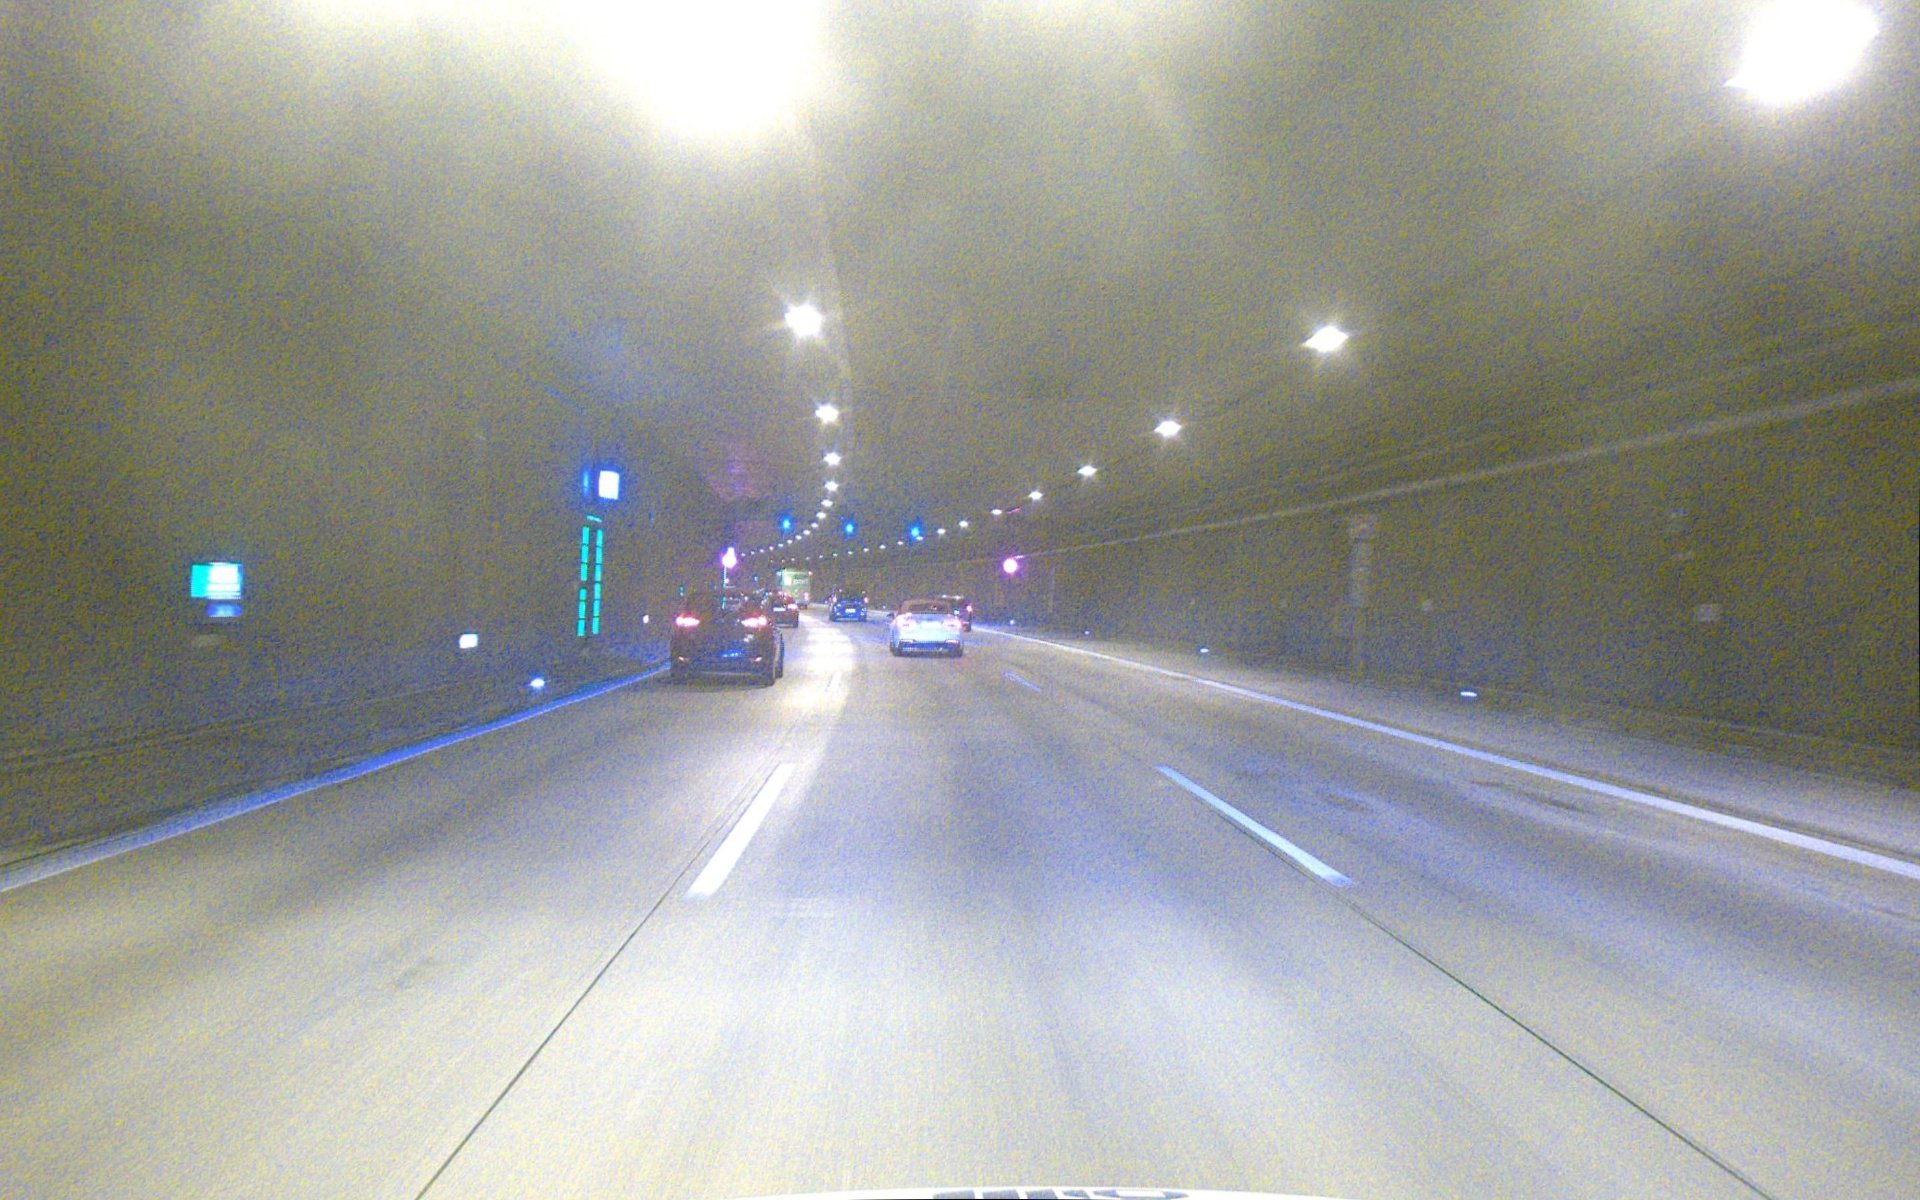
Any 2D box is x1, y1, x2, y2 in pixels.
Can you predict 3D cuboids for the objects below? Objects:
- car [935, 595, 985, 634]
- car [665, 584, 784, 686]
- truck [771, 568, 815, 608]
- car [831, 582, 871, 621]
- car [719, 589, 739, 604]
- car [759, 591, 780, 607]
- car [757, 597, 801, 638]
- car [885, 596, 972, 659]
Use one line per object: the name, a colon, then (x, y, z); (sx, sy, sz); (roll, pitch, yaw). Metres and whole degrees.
car: (-0.028, 0.607, 71.111); (1.803, 1.630, 3.996); (1, 0, -5)
car: (-4.005, 0.569, 28.621); (1.750, 1.626, 3.798); (1, 0, -4)
truck: (-14.070, -1.039, 138.662); (3.026, 3.167, 10.009); (2, 1, -9)
car: (-5.853, 0.066, 88.460); (1.955, 2.006, 3.994); (0, 0, -7)
car: (-24.279, -0.368, 173.778); (1.957, 1.557, 3.990); (2, 0, -10)
car: (-23.405, -0.118, 203.013); (1.960, 1.785, 3.985); (2, 0, -14)
car: (-7.988, 0.746, 72.695); (1.767, 1.713, 3.992); (1, 0, -8)
car: (-0.863, 0.663, 42.604); (1.954, 1.509, 3.996); (1, 0, -5)
